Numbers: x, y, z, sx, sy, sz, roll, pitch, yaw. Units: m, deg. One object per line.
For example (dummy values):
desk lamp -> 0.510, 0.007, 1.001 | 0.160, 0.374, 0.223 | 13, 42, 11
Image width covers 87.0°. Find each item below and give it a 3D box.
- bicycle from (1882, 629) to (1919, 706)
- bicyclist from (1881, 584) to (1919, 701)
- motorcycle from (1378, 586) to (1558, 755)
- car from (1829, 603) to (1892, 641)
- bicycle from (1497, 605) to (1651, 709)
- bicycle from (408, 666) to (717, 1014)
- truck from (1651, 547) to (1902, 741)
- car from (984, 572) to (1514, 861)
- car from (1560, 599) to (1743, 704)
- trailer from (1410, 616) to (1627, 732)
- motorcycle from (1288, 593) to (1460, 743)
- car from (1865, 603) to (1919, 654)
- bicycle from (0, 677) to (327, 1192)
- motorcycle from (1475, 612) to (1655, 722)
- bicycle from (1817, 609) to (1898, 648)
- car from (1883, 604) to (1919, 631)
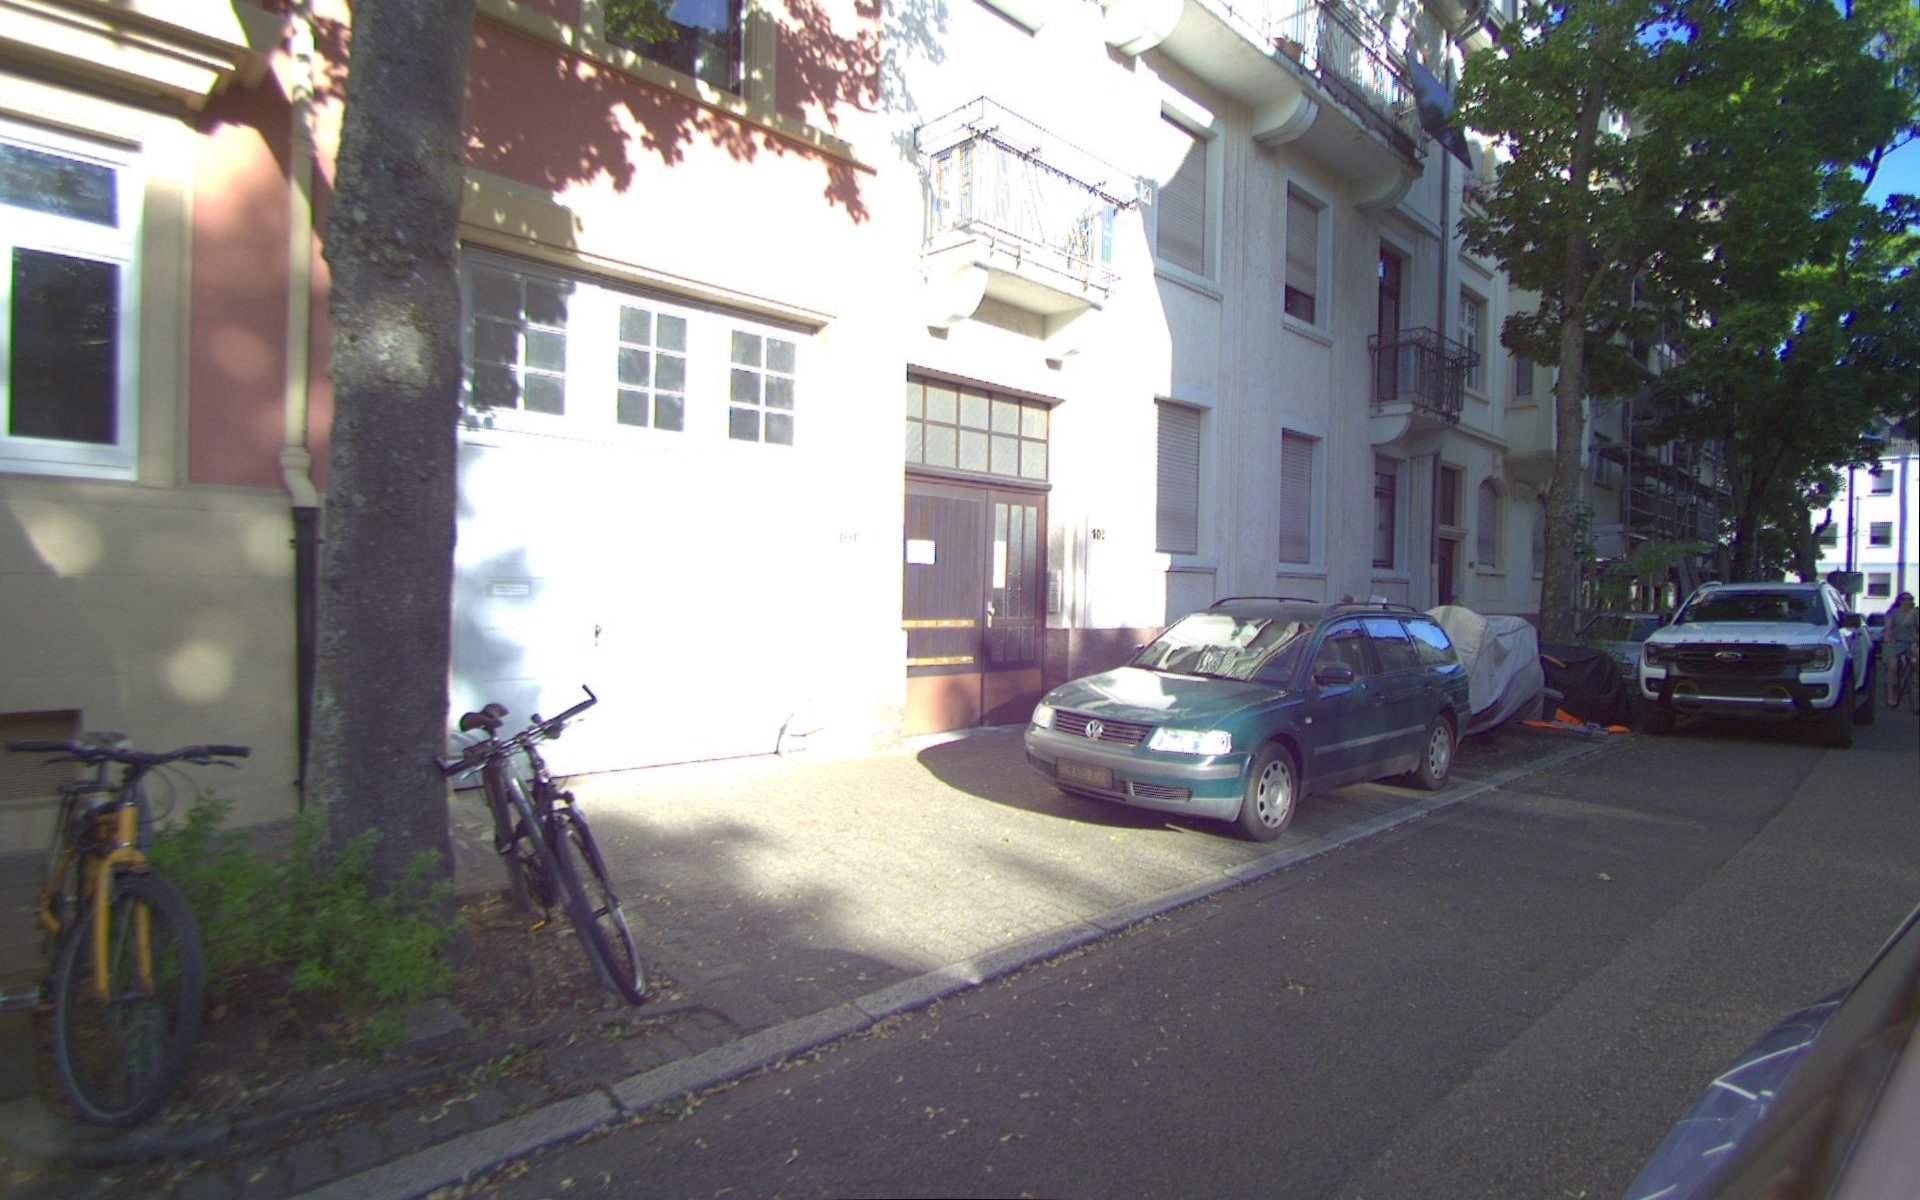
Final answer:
bicycle -> 14.398, 0.988, 15.249 | 0.705, 1.059, 1.829 | -3, -2, 42
bicyclist -> 14.373, 0.624, 15.216 | 0.714, 1.711, 0.966 | -2, -2, 42
motorcycle -> 5.125, 0.630, 10.140 | 2.102, 1.504, 0.931 | 1, 0, -43
car -> 38.565, 0.915, 43.308 | 4.433, 1.424, 1.663 | 0, 4, -45
bicycle -> 8.684, 0.768, 14.365 | 0.577, 1.321, 1.760 | 1, 1, -45
bicycle -> -1.679, 0.822, 4.093 | 0.569, 0.961, 1.788 | 1, 1, -42
truck -> 10.495, 0.443, 12.822 | 5.449, 1.973, 1.830 | 1, 0, -44
car -> 2.485, 0.633, 7.816 | 4.701, 1.548, 1.753 | 0, 2, -43
car -> 11.622, 0.760, 16.882 | 4.357, 1.439, 1.682 | 0, 2, -45
trailer -> 6.359, 0.787, 11.579 | 2.072, 1.126, 1.103 | 1, 0, 33
motorcycle -> 4.458, 0.659, 10.810 | 2.196, 1.434, 0.862 | 1, 0, -43
car -> 30.743, 0.880, 32.761 | 3.897, 1.555, 1.804 | 0, 0, -43
bicycle -> -2.635, 0.825, 3.098 | 1.700, 1.012, 0.696 | 2, 1, 40
motorcycle -> 7.383, 0.796, 12.428 | 1.735, 1.256, 0.701 | 1, 0, 7
bicycle -> 31.729, 0.992, 35.822 | 1.958, 1.169, 0.743 | 6, 3, 32
car -> 55.824, 1.043, 57.818 | 4.474, 1.526, 1.917 | 2, 1, 40
